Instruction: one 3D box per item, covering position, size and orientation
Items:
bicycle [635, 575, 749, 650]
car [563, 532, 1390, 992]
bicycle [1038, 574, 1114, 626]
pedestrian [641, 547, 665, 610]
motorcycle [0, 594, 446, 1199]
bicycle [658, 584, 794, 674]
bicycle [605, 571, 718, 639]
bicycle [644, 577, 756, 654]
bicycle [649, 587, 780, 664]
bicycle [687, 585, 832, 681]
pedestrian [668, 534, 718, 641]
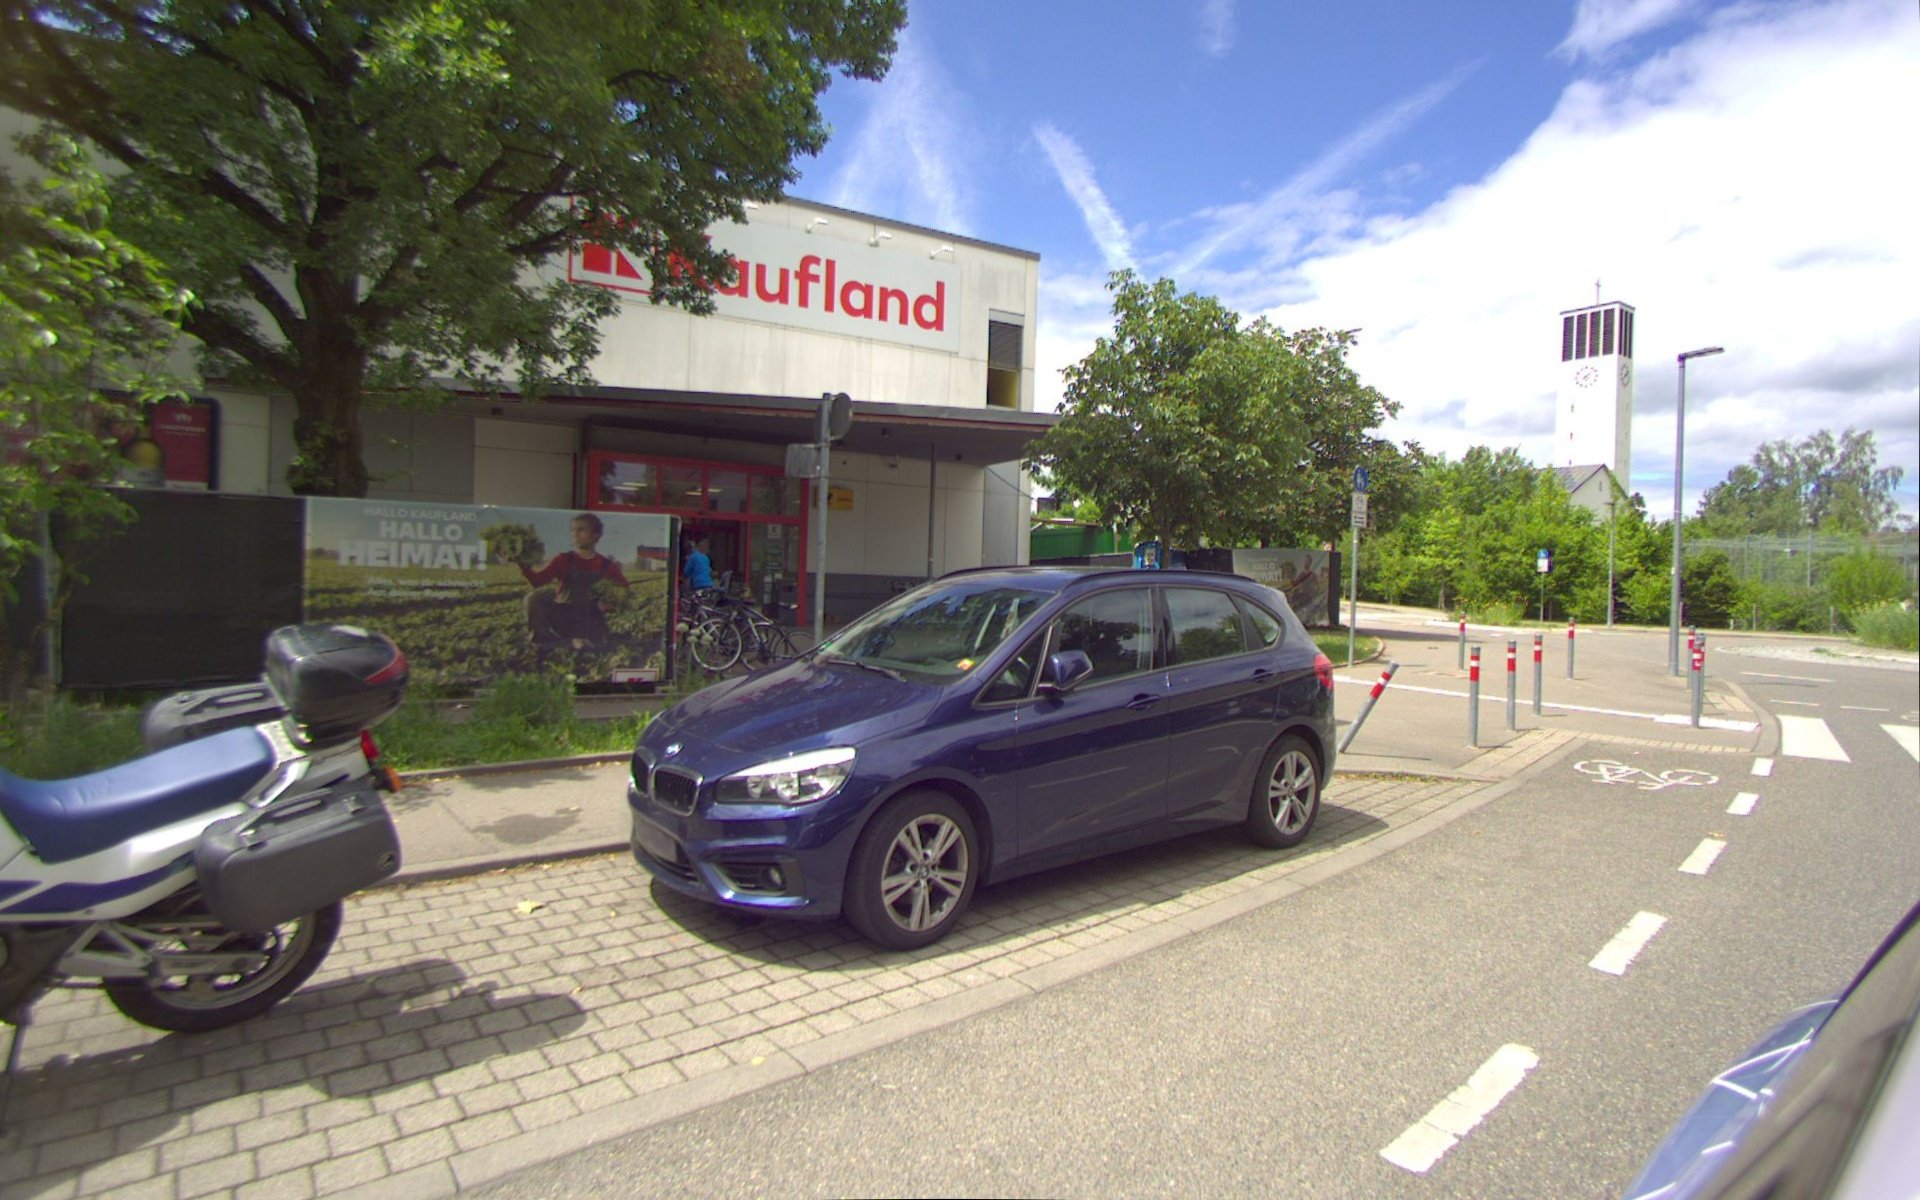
[{"bbox_3d":[-4.332,0.198,16.402,1.731,1.170,0.440,0,0,-29],"label":"bicycle"},{"bbox_3d":[0.331,0.506,5.615,4.350,1.597,1.922,0,3,-39],"label":"car"},{"bbox_3d":[2.867,-0.013,25.054,1.757,1.249,0.708,1,0,29],"label":"bicycle"},{"bbox_3d":[-7.825,-0.541,25.781,0.485,1.586,0.627,0,1,-26],"label":"pedestrian"},{"bbox_3d":[-2.642,0.680,2.560,2.219,1.321,1.074,0,4,-38],"label":"motorcycle"},{"bbox_3d":[-3.143,0.379,13.648,1.736,1.170,0.502,0,0,-12],"label":"bicycle"},{"bbox_3d":[-5.307,0.077,18.038,1.873,1.170,0.531,0,0,-24],"label":"bicycle"},{"bbox_3d":[-4.050,0.232,15.783,1.627,1.170,0.426,0,0,-27],"label":"bicycle"},{"bbox_3d":[-3.554,0.356,14.705,1.766,1.053,0.521,0,2,-34],"label":"bicycle"},{"bbox_3d":[-2.546,0.403,12.857,1.753,1.170,0.452,0,0,-17],"label":"bicycle"},{"bbox_3d":[-4.593,-0.222,17.397,0.732,1.778,0.626,1,3,-23],"label":"pedestrian"}]
